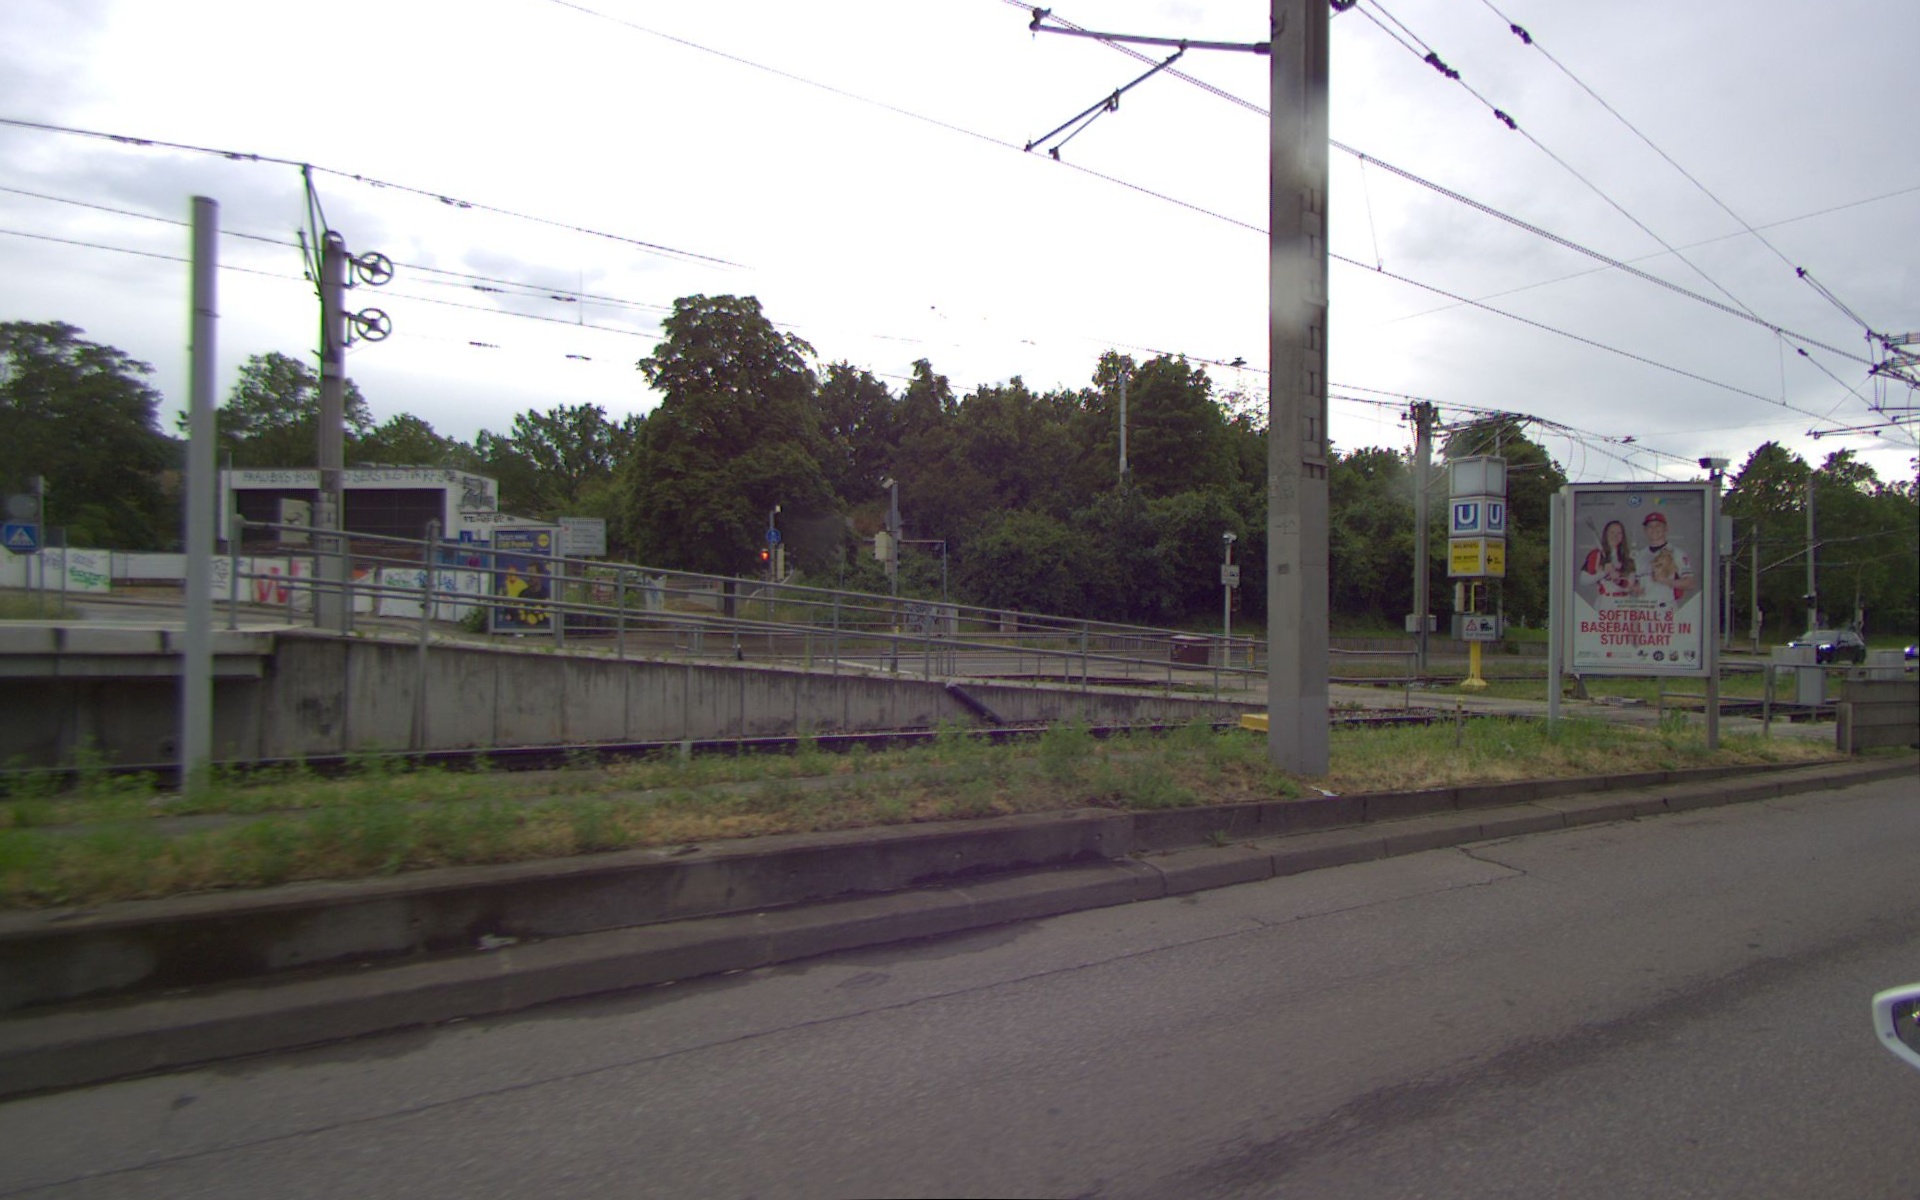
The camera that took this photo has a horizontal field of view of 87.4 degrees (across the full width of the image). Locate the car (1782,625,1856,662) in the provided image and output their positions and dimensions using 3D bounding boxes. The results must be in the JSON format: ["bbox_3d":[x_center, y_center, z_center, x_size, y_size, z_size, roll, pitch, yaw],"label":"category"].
[{"bbox_3d":[43.859,2.202,51.315,3.259,1.654,1.661,-1,3,-26],"label":"car"}]

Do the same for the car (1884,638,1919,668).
[{"bbox_3d":[61.742,3.374,64.829,3.760,1.654,1.844,-1,3,-26],"label":"car"}]
